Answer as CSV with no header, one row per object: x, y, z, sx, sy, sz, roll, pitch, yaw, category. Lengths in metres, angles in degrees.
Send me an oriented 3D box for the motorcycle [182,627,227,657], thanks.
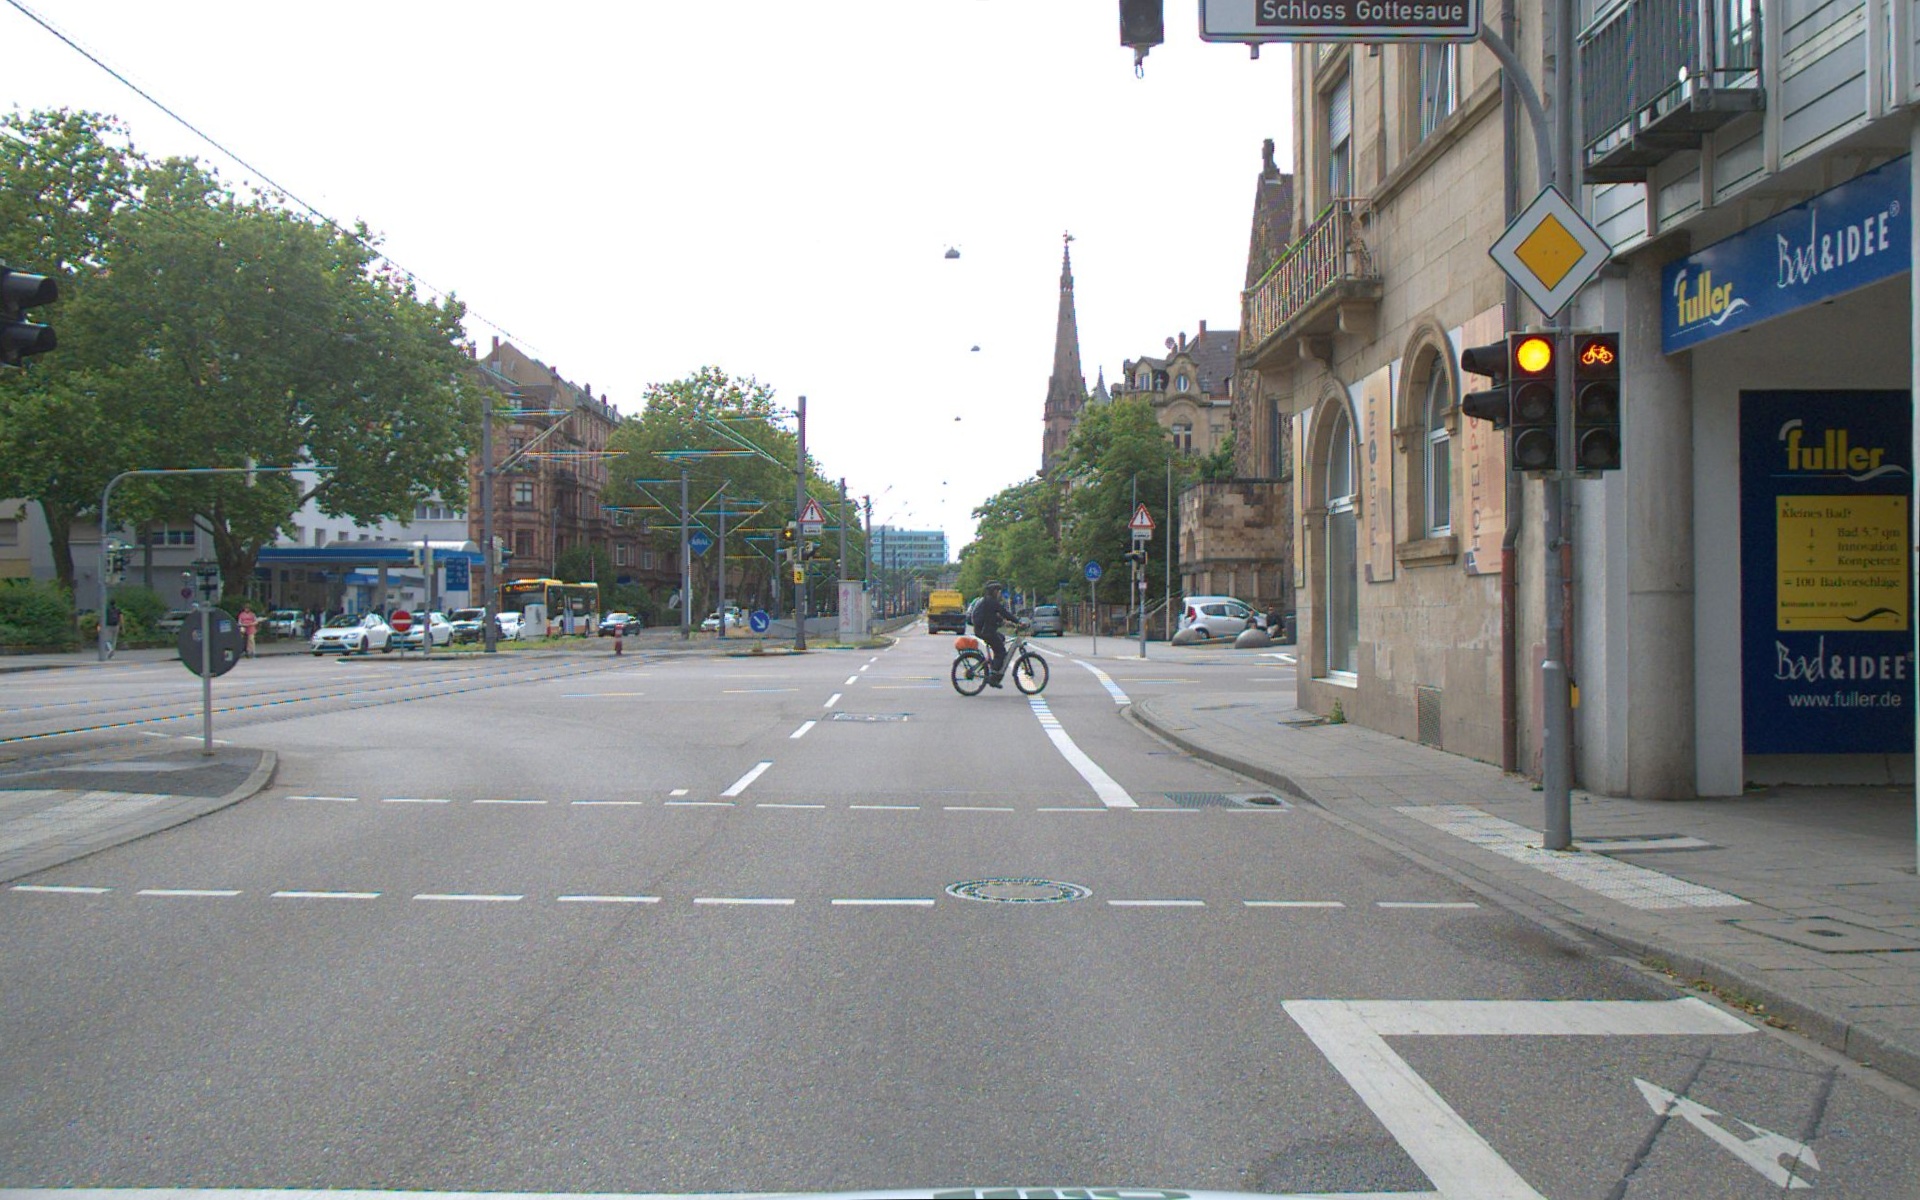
-24.682,1.369,54.053,0.594,0.945,1.951,0,0,0,motorcycle

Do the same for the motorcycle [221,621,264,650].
-23.693,1.167,54.647,0.594,0.945,1.951,0,0,0,motorcycle

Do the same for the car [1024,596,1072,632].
4.816,0.764,90.020,1.951,1.888,4.030,1,0,12,car

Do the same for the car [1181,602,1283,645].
10.673,0.921,65.104,3.638,1.591,2.000,1,0,-1,car

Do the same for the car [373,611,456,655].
-21.425,1.286,65.103,1.953,1.622,3.999,1,0,-1,car

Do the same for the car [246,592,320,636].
-32.864,0.676,80.395,1.953,2.049,3.999,0,0,-1,car

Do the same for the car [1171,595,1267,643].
10.690,0.789,68.528,3.638,1.888,2.000,1,0,-1,car

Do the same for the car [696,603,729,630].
-19.391,1.249,129.649,1.953,2.049,3.999,1,0,-1,car

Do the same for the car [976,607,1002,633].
2.382,1.618,135.974,1.953,2.049,3.999,1,0,-1,car

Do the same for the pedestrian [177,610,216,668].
-23.238,1.171,50.320,0.849,1.743,0.691,0,0,3,pedestrian

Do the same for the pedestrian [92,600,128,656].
-26.402,0.857,51.387,0.669,1.720,0.742,1,-1,4,pedestrian

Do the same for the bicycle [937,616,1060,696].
0.656,0.925,27.795,1.970,1.294,0.743,1,-1,-31,bicycle

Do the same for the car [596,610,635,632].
-21.669,1.297,104.242,1.622,1.344,3.638,1,0,1,car

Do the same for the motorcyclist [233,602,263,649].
-23.662,0.857,54.982,0.607,1.546,0.873,0,0,-1,motorcyclist

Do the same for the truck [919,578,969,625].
-1.030,0.087,104.731,2.993,2.817,9.813,0,0,-1,truck

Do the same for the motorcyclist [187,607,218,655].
-24.680,0.993,53.883,0.607,1.546,0.873,0,0,-1,motorcyclist

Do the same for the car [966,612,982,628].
1.779,2.646,216.796,1.953,2.049,3.999,1,0,-1,car

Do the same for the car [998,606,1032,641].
3.290,1.413,99.657,1.952,2.049,4.000,1,0,1,car

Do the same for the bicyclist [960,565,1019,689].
0.492,0.448,27.707,0.684,2.049,0.775,1,-1,-29,bicyclist

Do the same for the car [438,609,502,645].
-21.224,1.137,71.756,1.622,1.504,3.638,1,0,1,car

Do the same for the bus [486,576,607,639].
-21.966,0.414,88.729,3.164,3.088,12.312,1,0,1,bus

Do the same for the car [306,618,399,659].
-21.438,1.330,58.567,1.711,1.344,4.075,1,0,1,car

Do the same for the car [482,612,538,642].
-21.380,1.282,78.675,1.622,1.344,3.638,1,0,1,car

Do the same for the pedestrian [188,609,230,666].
-23.179,1.145,51.036,0.853,1.743,0.876,0,0,5,pedestrian
